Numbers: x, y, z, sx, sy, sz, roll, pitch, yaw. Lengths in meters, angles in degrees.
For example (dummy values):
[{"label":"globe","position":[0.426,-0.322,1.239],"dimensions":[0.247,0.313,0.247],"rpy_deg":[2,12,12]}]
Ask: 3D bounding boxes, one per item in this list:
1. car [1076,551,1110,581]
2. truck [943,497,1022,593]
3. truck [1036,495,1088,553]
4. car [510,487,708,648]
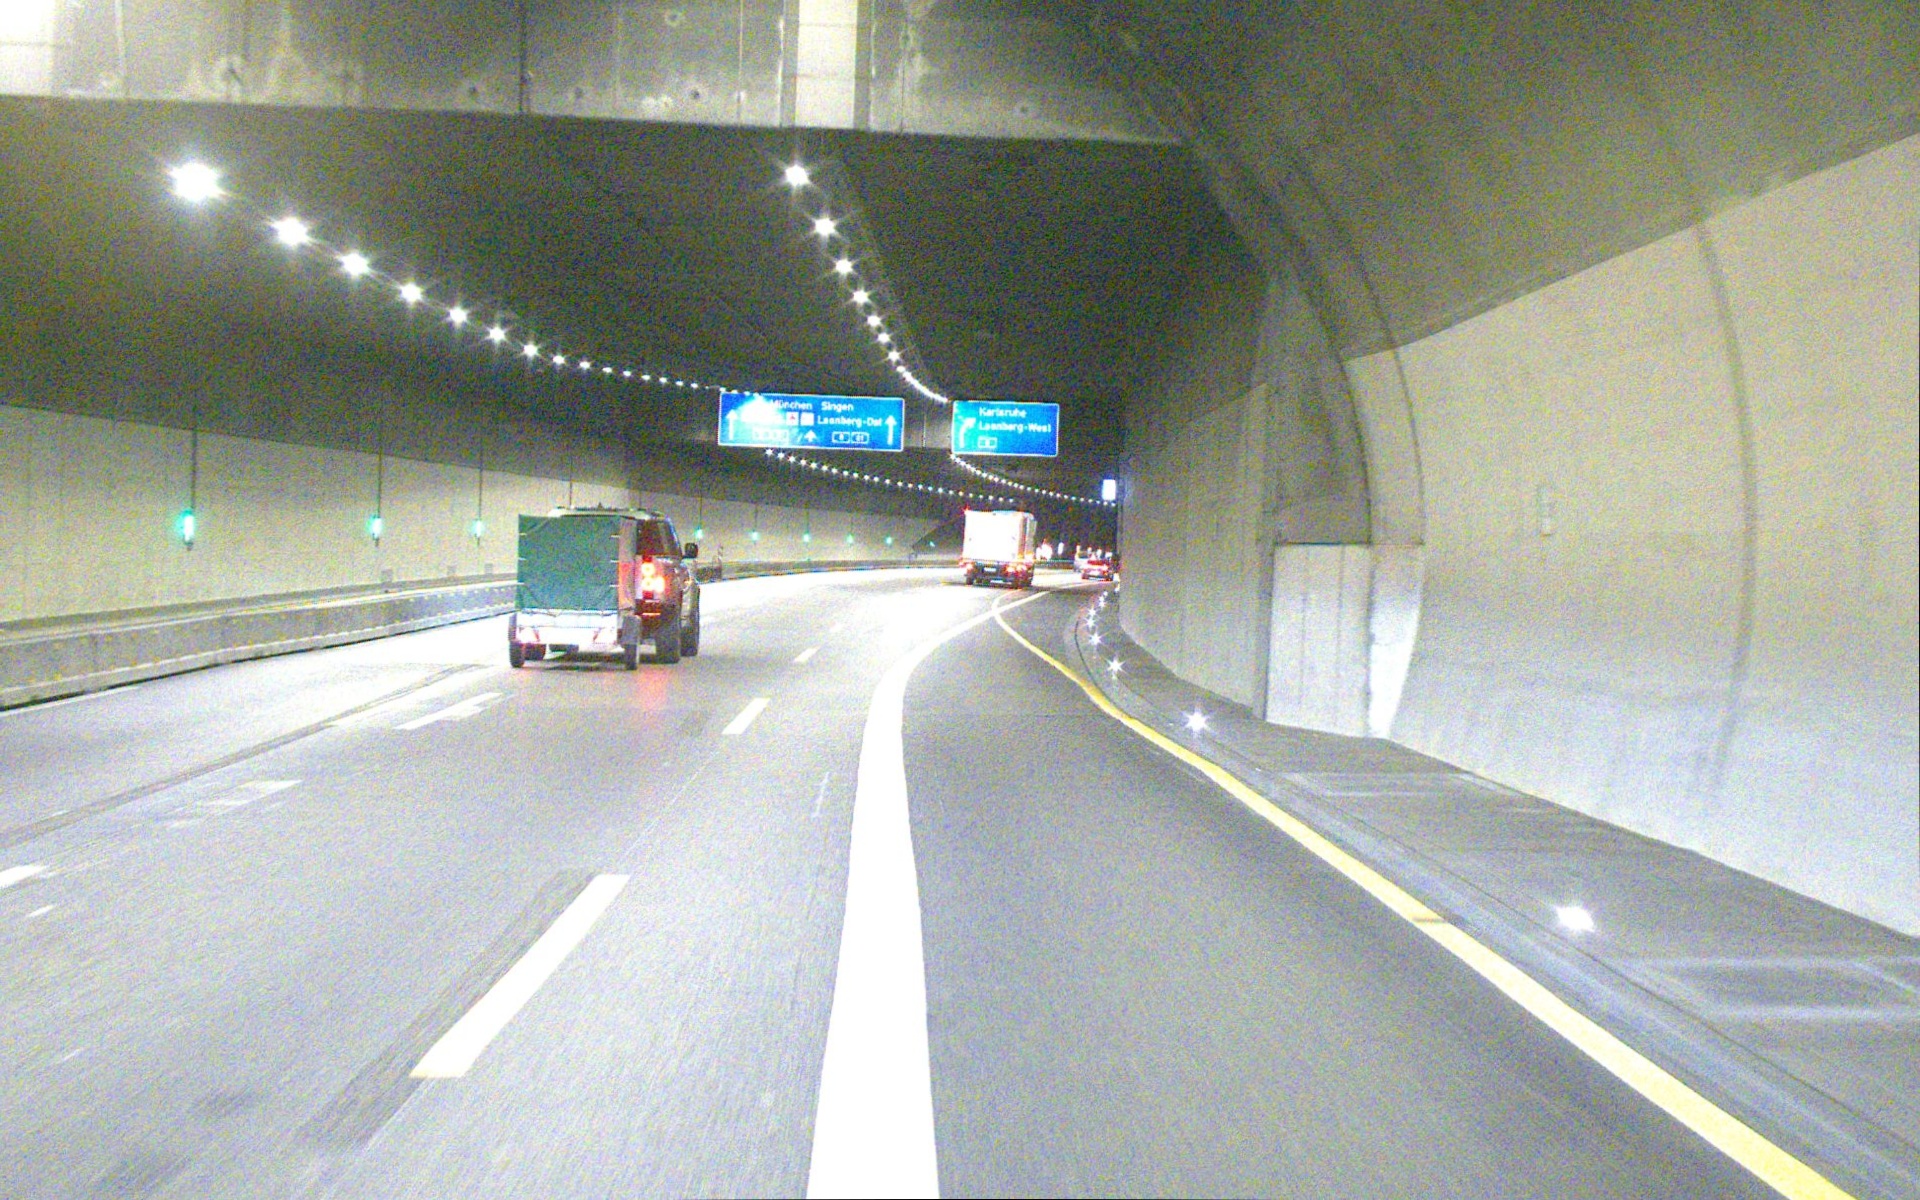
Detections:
[{"label":"car","position":[8.637,-2.206,223.293],"dimensions":[1.994,1.888,5.531],"rpy_deg":[1,1,4]},{"label":"truck","position":[1.052,-2.656,162.900],"dimensions":[3.474,4.301,10.952],"rpy_deg":[2,1,0]},{"label":"truck","position":[7.678,-5.744,260.077],"dimensions":[3.474,4.301,10.953],"rpy_deg":[0,1,-1]},{"label":"car","position":[-4.474,-0.359,44.606],"dimensions":[1.993,1.889,5.453],"rpy_deg":[1,-1,0]}]
